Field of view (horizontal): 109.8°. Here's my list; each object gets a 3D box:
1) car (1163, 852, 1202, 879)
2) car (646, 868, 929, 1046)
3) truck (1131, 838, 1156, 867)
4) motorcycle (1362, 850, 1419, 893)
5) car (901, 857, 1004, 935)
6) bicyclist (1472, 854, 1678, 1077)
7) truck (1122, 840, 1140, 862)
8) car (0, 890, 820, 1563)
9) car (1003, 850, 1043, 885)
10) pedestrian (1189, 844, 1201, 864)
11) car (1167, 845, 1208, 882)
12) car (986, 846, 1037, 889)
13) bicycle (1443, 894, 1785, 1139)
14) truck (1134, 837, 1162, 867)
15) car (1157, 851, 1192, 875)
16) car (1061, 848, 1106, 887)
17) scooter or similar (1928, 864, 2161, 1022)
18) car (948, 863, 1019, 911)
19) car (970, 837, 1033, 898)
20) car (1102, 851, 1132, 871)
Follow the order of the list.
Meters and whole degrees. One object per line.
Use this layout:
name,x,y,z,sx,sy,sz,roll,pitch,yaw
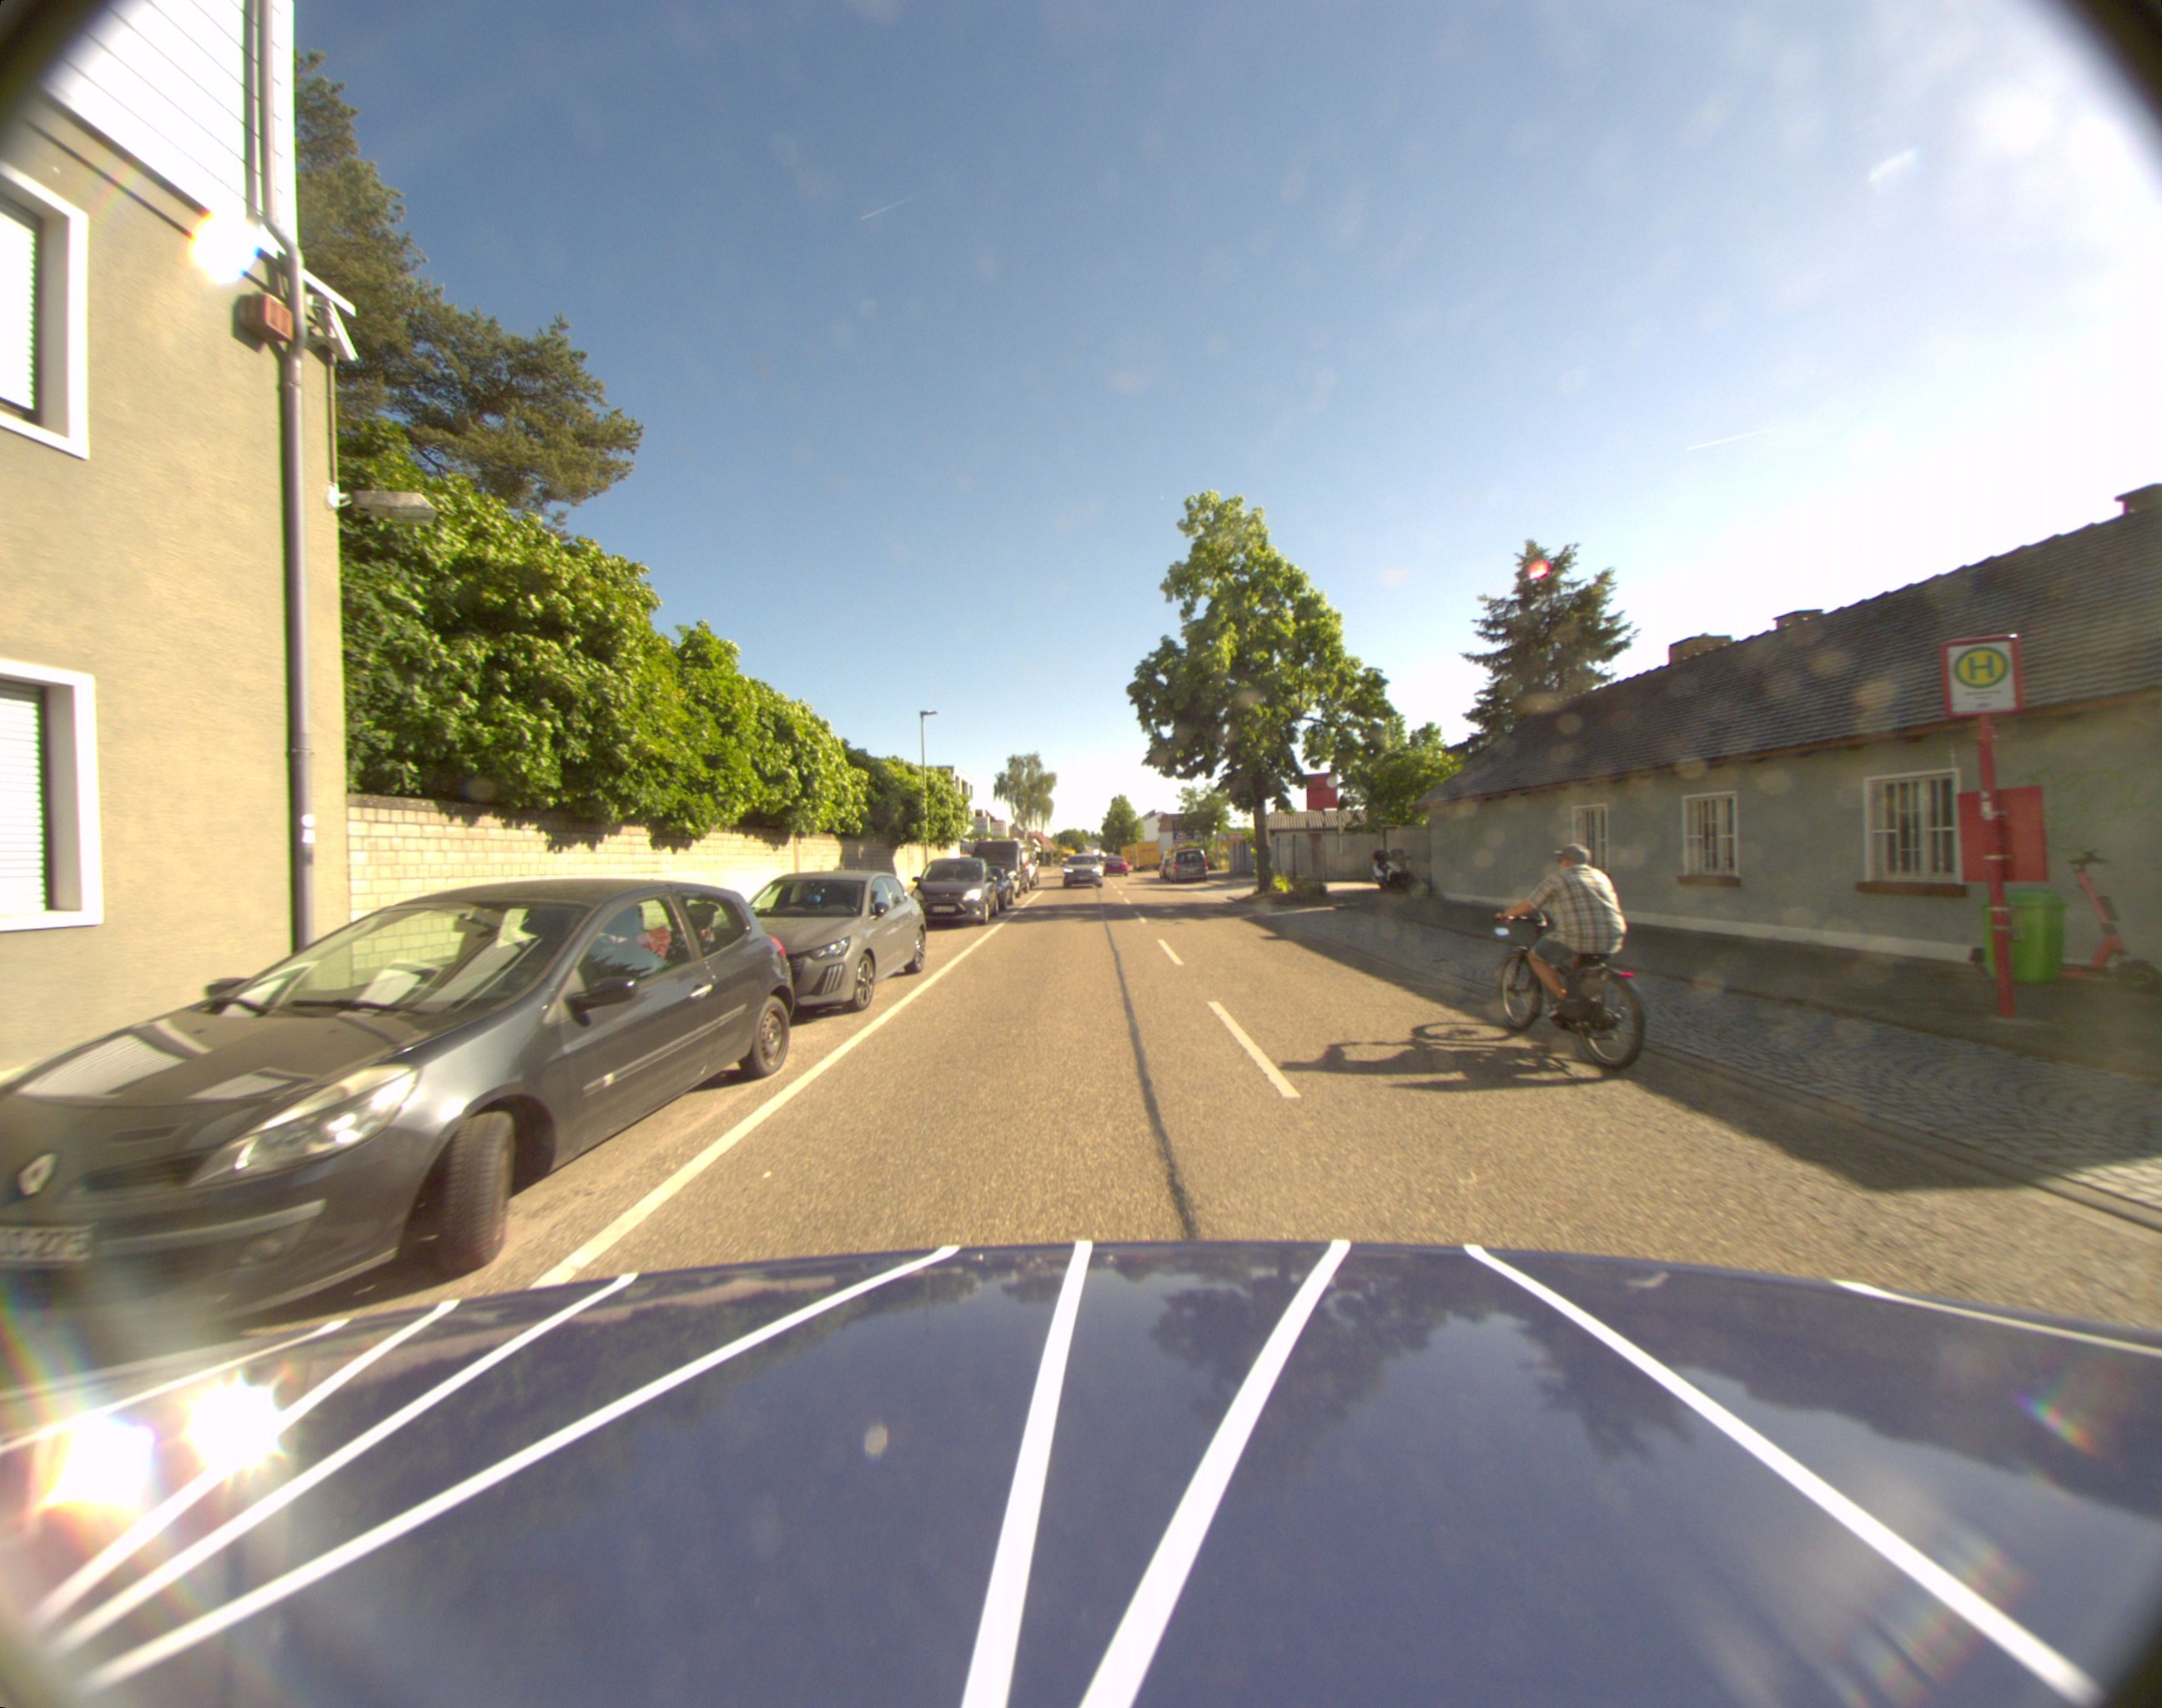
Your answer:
car,6.232,0.670,47.067,1.780,1.439,4.615,-3,0,1
car,-3.056,0.974,8.891,1.663,1.496,4.031,-1,0,1
truck,6.585,-0.184,80.631,2.145,2.857,5.749,-3,1,1
motorcycle,9.693,0.519,23.893,0.701,1.226,2.539,-4,0,0
car,-3.043,0.923,18.788,1.686,1.604,4.205,-3,0,1
bicyclist,3.757,0.783,5.906,0.841,1.533,1.136,1,2,3
truck,7.313,-0.500,111.793,2.286,3.012,5.910,-4,1,1
car,-3.052,1.041,4.031,1.602,1.464,4.190,-1,0,4
car,-3.214,0.722,42.999,1.806,1.734,4.911,-3,1,0
pedestrian,10.007,-0.009,66.671,0.821,1.733,0.751,-3,1,-6
car,5.840,0.505,42.197,1.779,1.838,4.616,-3,0,3
car,-3.285,0.613,36.860,1.896,1.914,4.921,-1,0,1
bicycle,3.740,1.021,5.758,0.841,1.232,2.604,1,1,3
truck,6.473,-0.198,73.790,2.173,2.698,5.749,-3,1,1
car,6.334,0.594,51.742,1.780,1.439,4.923,-3,0,1
car,0.121,0.617,37.165,1.998,1.750,5.015,-2,0,0
scooter or similar,8.905,0.738,6.883,0.484,1.263,1.576,-2,1,-17
car,-3.029,0.993,24.287,1.658,1.310,4.104,-1,0,1
car,-3.145,0.500,30.924,1.896,2.247,5.145,-1,0,1
car,2.717,0.518,56.194,1.874,1.412,4.532,1,0,7
